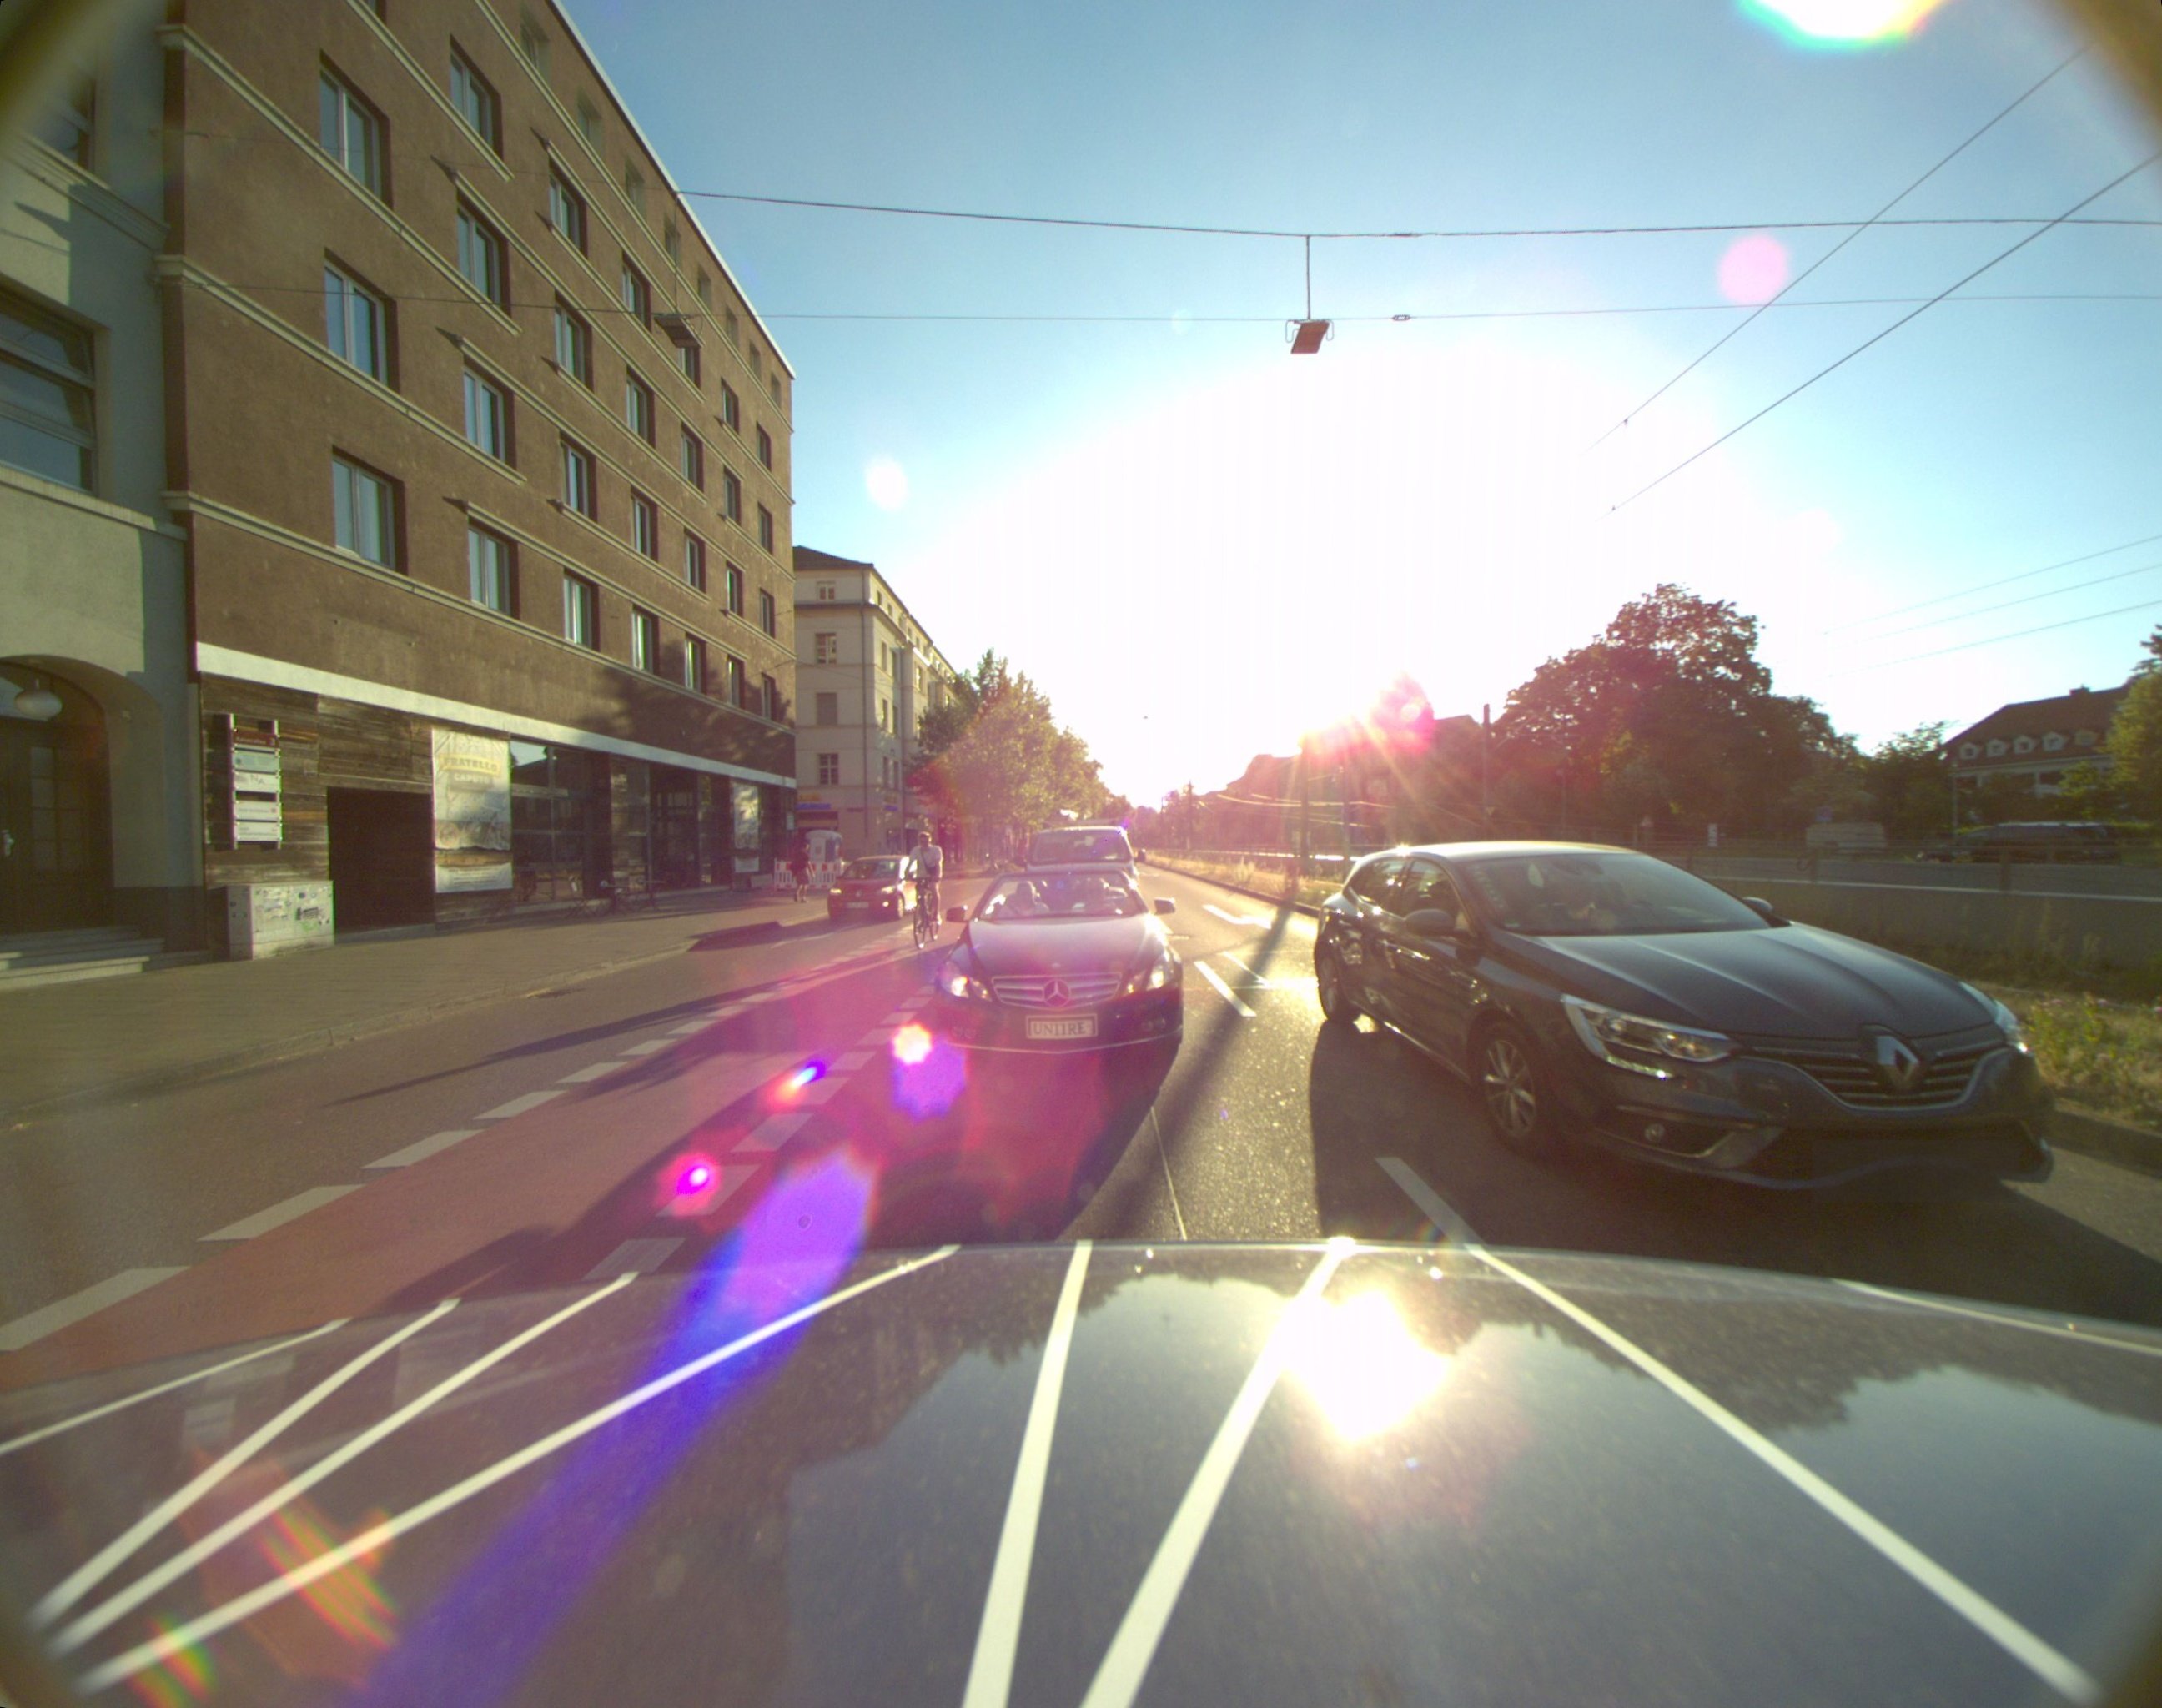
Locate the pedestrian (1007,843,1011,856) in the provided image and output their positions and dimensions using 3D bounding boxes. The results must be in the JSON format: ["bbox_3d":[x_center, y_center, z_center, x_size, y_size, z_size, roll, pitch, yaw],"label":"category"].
[{"bbox_3d":[-8.328,-0.503,87.512,0.310,1.431,0.357,-1,1,9],"label":"pedestrian"}]

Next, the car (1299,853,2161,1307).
[{"bbox_3d":[2.779,0.766,4.523,1.815,1.393,3.919,-3,1,1],"label":"car"}]

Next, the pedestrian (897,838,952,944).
[{"bbox_3d":[-2.522,0.578,12.346,0.640,1.639,0.843,-2,1,1],"label":"pedestrian"}]

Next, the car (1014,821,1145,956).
[{"bbox_3d":[-0.009,0.476,13.801,1.920,1.978,4.946,-1,1,0],"label":"car"}]

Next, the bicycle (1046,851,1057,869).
[{"bbox_3d":[-1.913,0.382,50.067,0.530,1.152,1.849,-2,1,2],"label":"bicycle"}]

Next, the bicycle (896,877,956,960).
[{"bbox_3d":[-2.489,0.995,12.366,0.530,1.152,1.849,-2,1,1],"label":"bicycle"}]

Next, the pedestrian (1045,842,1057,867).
[{"bbox_3d":[-1.960,0.023,50.100,0.679,1.639,0.901,-2,1,2],"label":"pedestrian"}]

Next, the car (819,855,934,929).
[{"bbox_3d":[-4.842,0.840,18.453,1.687,1.472,3.539,-3,1,1],"label":"car"}]

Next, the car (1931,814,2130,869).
[{"bbox_3d":[32.090,-0.420,25.905,1.715,1.685,4.089,-1,1,2],"label":"car"}]

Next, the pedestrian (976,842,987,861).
[{"bbox_3d":[-8.722,-0.239,66.593,0.728,1.666,0.924,-1,1,0],"label":"pedestrian"}]

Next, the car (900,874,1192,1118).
[{"bbox_3d":[-0.203,0.939,6.821,1.776,1.300,4.240,-1,1,0],"label":"car"}]

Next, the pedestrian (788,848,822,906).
[{"bbox_3d":[-7.853,0.640,21.644,0.603,1.587,0.884,-1,1,1],"label":"pedestrian"}]

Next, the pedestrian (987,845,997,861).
[{"bbox_3d":[-7.764,-0.098,66.199,0.728,1.431,0.924,-1,1,0],"label":"pedestrian"}]
